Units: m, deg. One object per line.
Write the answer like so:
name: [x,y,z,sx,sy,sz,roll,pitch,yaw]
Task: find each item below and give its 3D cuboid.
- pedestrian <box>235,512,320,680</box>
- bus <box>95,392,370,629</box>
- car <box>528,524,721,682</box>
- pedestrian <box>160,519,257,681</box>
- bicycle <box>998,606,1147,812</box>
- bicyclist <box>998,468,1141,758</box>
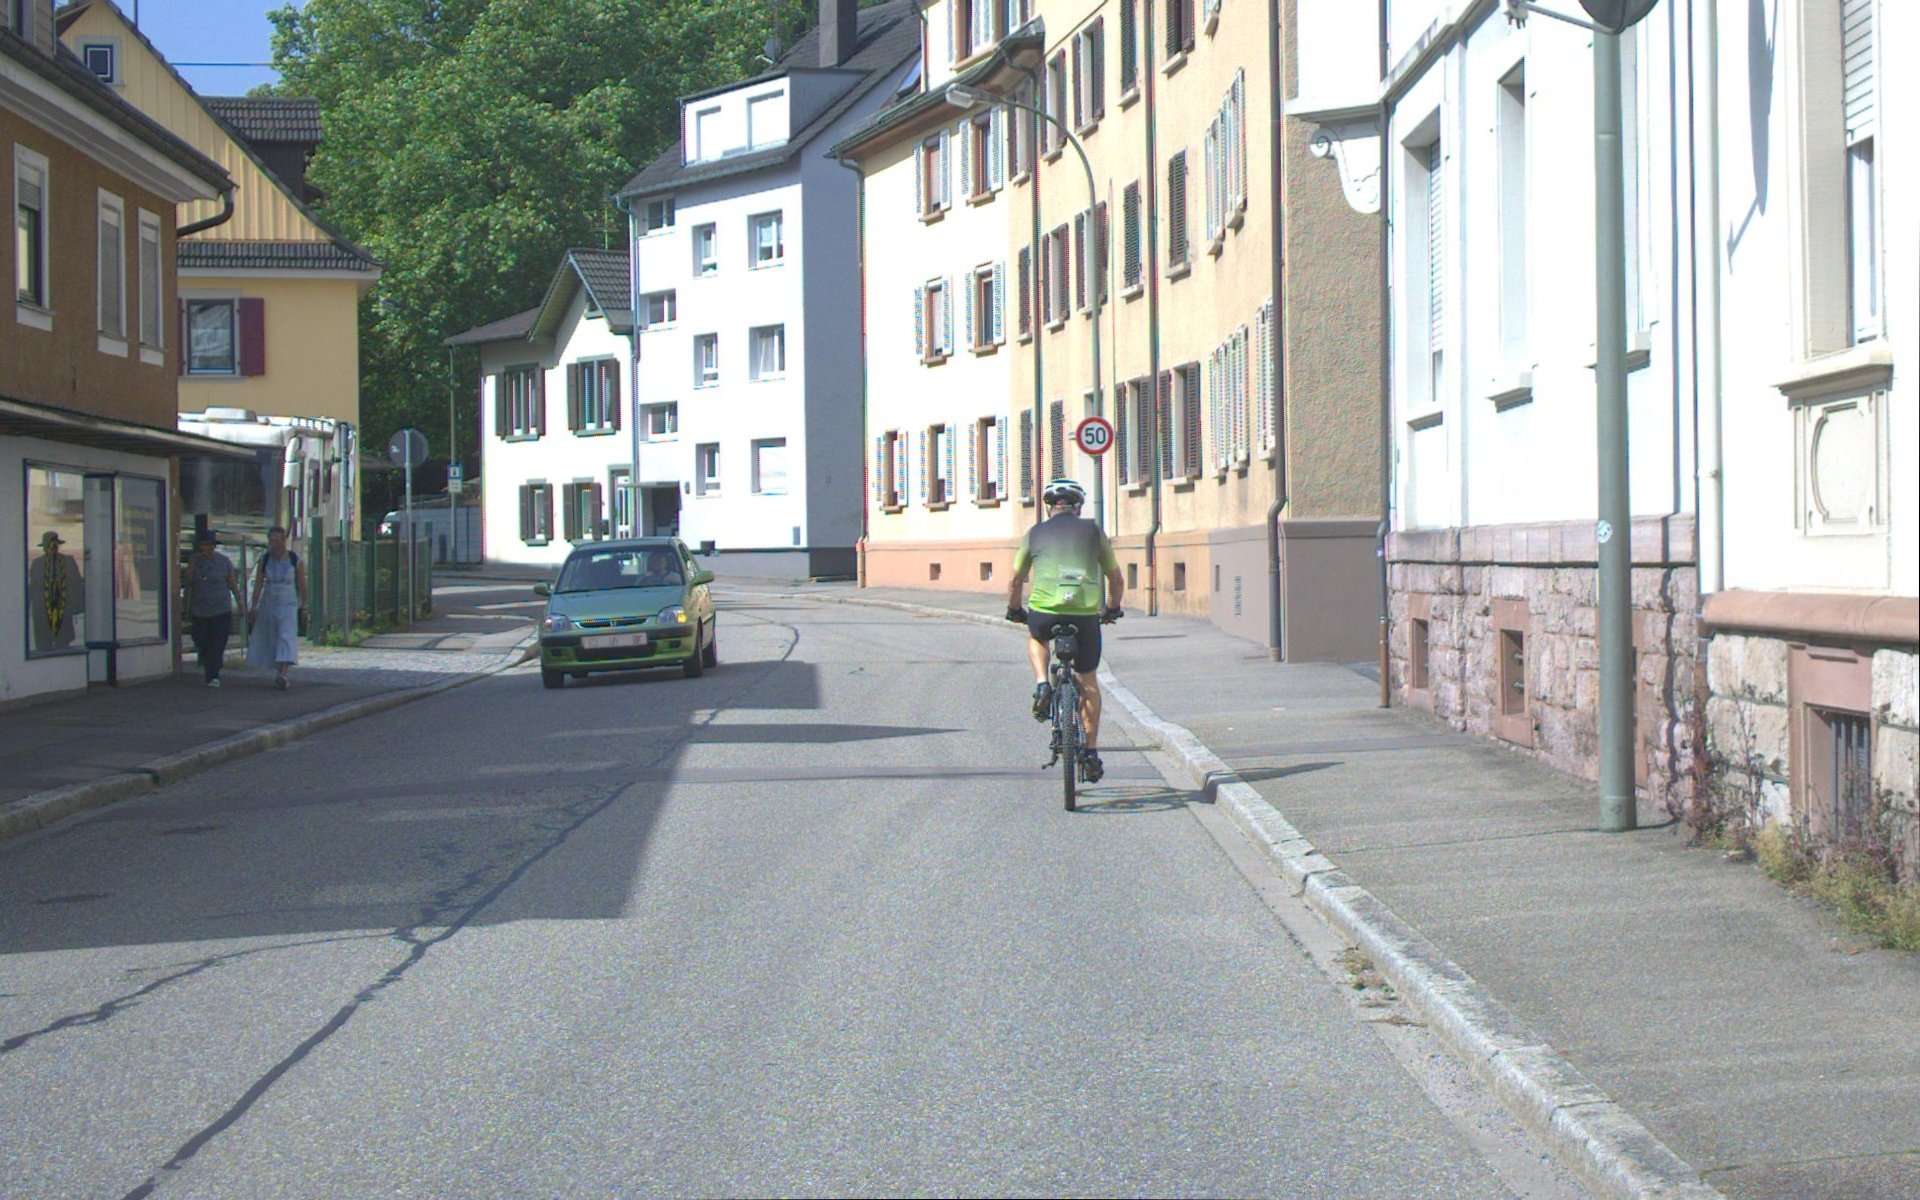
pedestrian: [-6.757,-0.050,34.050,0.639,1.621,0.777,2,1,-1]
bus: [-10.794,-1.335,51.898,2.820,3.217,9.038,1,1,-4]
car: [-3.445,-0.013,35.846,1.596,1.459,3.660,-4,1,0]
pedestrian: [-7.489,-0.010,34.269,0.735,1.559,0.824,2,1,-1]
bicycle: [0.595,0.569,18.704,0.698,1.032,1.471,0,2,-3]
bicyclist: [0.589,0.065,18.672,0.685,1.526,0.716,-2,1,-2]
